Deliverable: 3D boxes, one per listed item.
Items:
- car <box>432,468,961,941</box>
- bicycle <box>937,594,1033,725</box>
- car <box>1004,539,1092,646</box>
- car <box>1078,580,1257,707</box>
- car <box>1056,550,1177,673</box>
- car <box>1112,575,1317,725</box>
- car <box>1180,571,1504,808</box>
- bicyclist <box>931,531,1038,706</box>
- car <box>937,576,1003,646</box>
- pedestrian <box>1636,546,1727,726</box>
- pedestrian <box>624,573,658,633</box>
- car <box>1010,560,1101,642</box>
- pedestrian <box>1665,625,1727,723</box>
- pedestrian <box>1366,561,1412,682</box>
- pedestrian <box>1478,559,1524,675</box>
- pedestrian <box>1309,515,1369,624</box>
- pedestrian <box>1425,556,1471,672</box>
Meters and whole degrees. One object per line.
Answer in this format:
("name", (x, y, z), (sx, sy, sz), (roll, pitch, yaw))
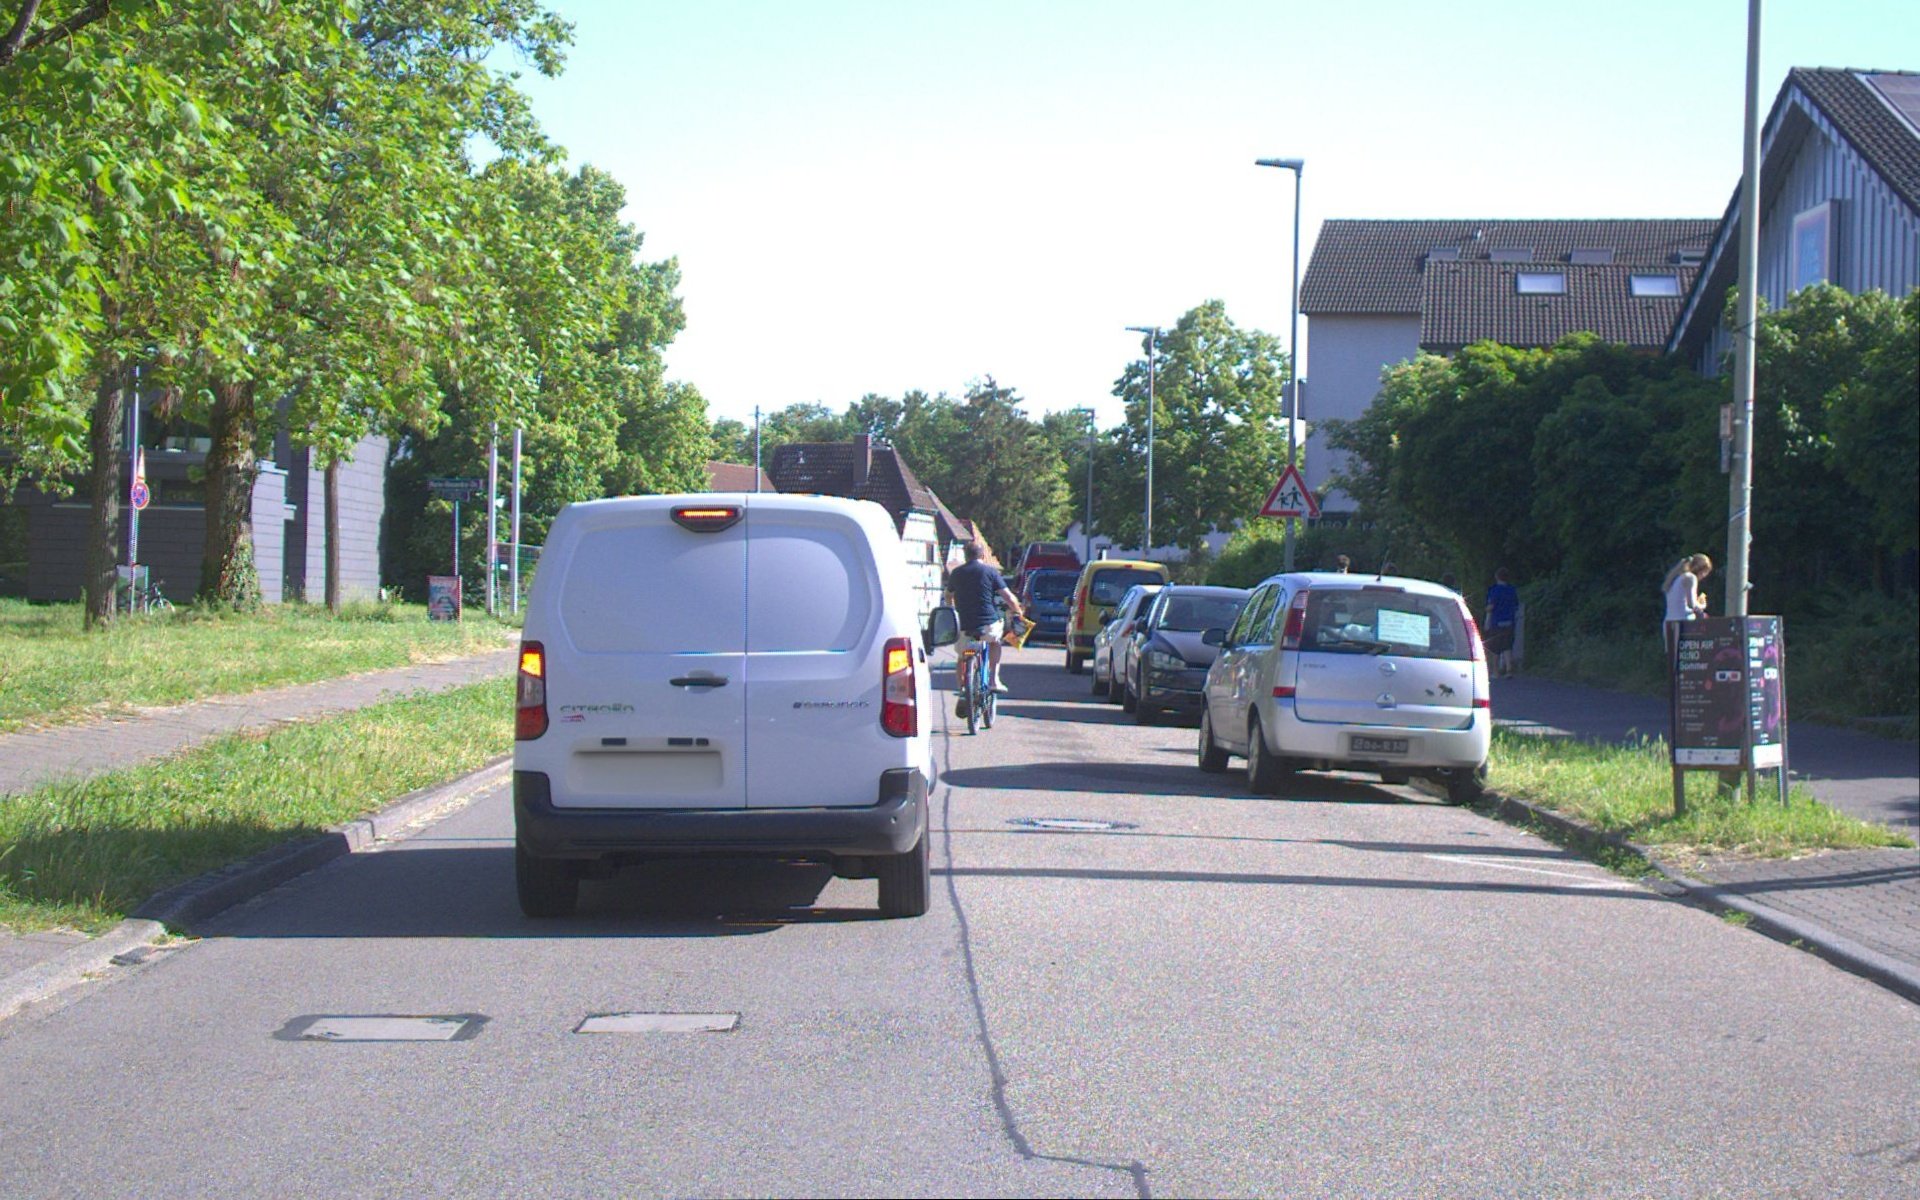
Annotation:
("car", (-1.074, 0.399, 16.108), (1.993, 1.875, 4.289), (1, 1, 2))
("bicycle", (0.218, 0.535, 31.978), (0.787, 1.135, 2.280), (1, 1, -2))
("car", (2.237, -0.169, 88.596), (1.866, 2.554, 4.768), (4, -1, -2))
("car", (2.540, 0.509, 42.890), (1.826, 1.447, 4.000), (2, 0, -2))
("car", (2.458, 0.174, 54.661), (1.724, 1.831, 4.000), (2, 0, 1))
("car", (2.657, 0.483, 36.766), (1.807, 1.438, 4.363), (2, 1, 0))
("car", (2.779, 0.618, 25.830), (1.679, 1.594, 4.029), (2, 0, -4))
("bicyclist", (0.223, 0.171, 32.027), (0.905, 1.579, 0.966), (2, -1, -2))
("car", (0.302, 0.347, 107.726), (1.804, 2.062, 4.000), (4, -1, -2))
("pedestrian", (7.271, 0.354, 34.658), (0.798, 1.776, 0.808), (1, 1, 8))
("pedestrian", (-7.680, 0.076, 82.831), (0.510, 1.441, 0.638), (2, 1, 33))
("car", (2.233, 0.034, 81.165), (1.804, 1.779, 4.000), (4, -1, -2))
("pedestrian", (7.601, 0.758, 35.509), (0.532, 0.977, 0.810), (2, 0, 7))
("pedestrian", (5.840, 0.289, 46.794), (0.567, 1.631, 0.546), (1, 1, 5))
("pedestrian", (7.691, 0.240, 48.895), (0.567, 1.631, 0.546), (1, 1, 5))
("pedestrian", (6.586, -0.533, 59.781), (0.793, 1.855, 0.874), (2, 0, -8))
("pedestrian", (6.943, 0.197, 48.928), (0.567, 1.631, 0.546), (1, 1, 5))
